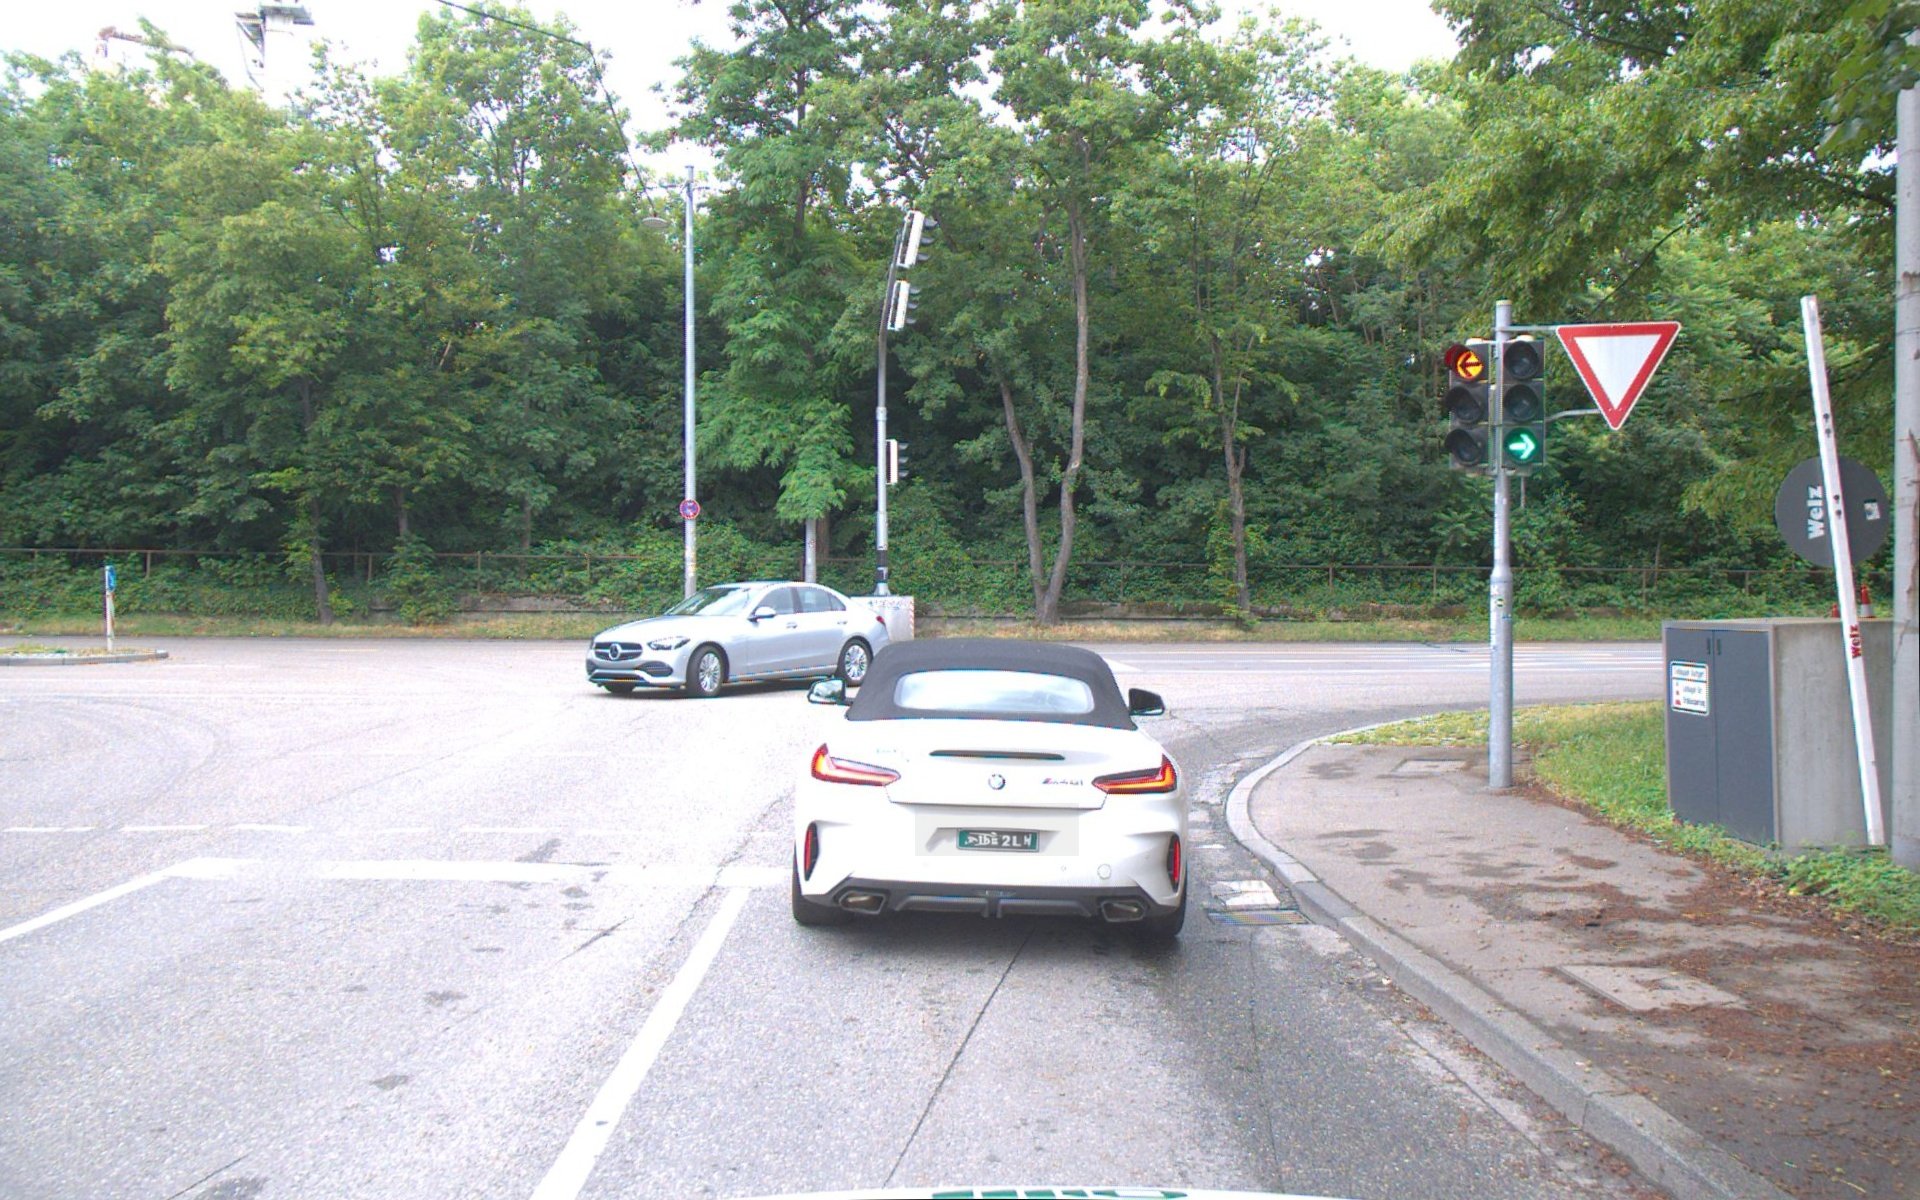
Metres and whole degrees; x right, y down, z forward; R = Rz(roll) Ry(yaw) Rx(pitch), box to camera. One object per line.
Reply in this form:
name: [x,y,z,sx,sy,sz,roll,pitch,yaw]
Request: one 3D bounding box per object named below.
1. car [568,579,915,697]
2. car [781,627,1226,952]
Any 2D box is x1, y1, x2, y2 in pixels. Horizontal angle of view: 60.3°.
car: [-2.822,0.428,22.368,1.799,1.357,4.743,2,2,39]
car: [0.133,0.850,8.740,1.790,1.279,3.998,1,-2,-2]
